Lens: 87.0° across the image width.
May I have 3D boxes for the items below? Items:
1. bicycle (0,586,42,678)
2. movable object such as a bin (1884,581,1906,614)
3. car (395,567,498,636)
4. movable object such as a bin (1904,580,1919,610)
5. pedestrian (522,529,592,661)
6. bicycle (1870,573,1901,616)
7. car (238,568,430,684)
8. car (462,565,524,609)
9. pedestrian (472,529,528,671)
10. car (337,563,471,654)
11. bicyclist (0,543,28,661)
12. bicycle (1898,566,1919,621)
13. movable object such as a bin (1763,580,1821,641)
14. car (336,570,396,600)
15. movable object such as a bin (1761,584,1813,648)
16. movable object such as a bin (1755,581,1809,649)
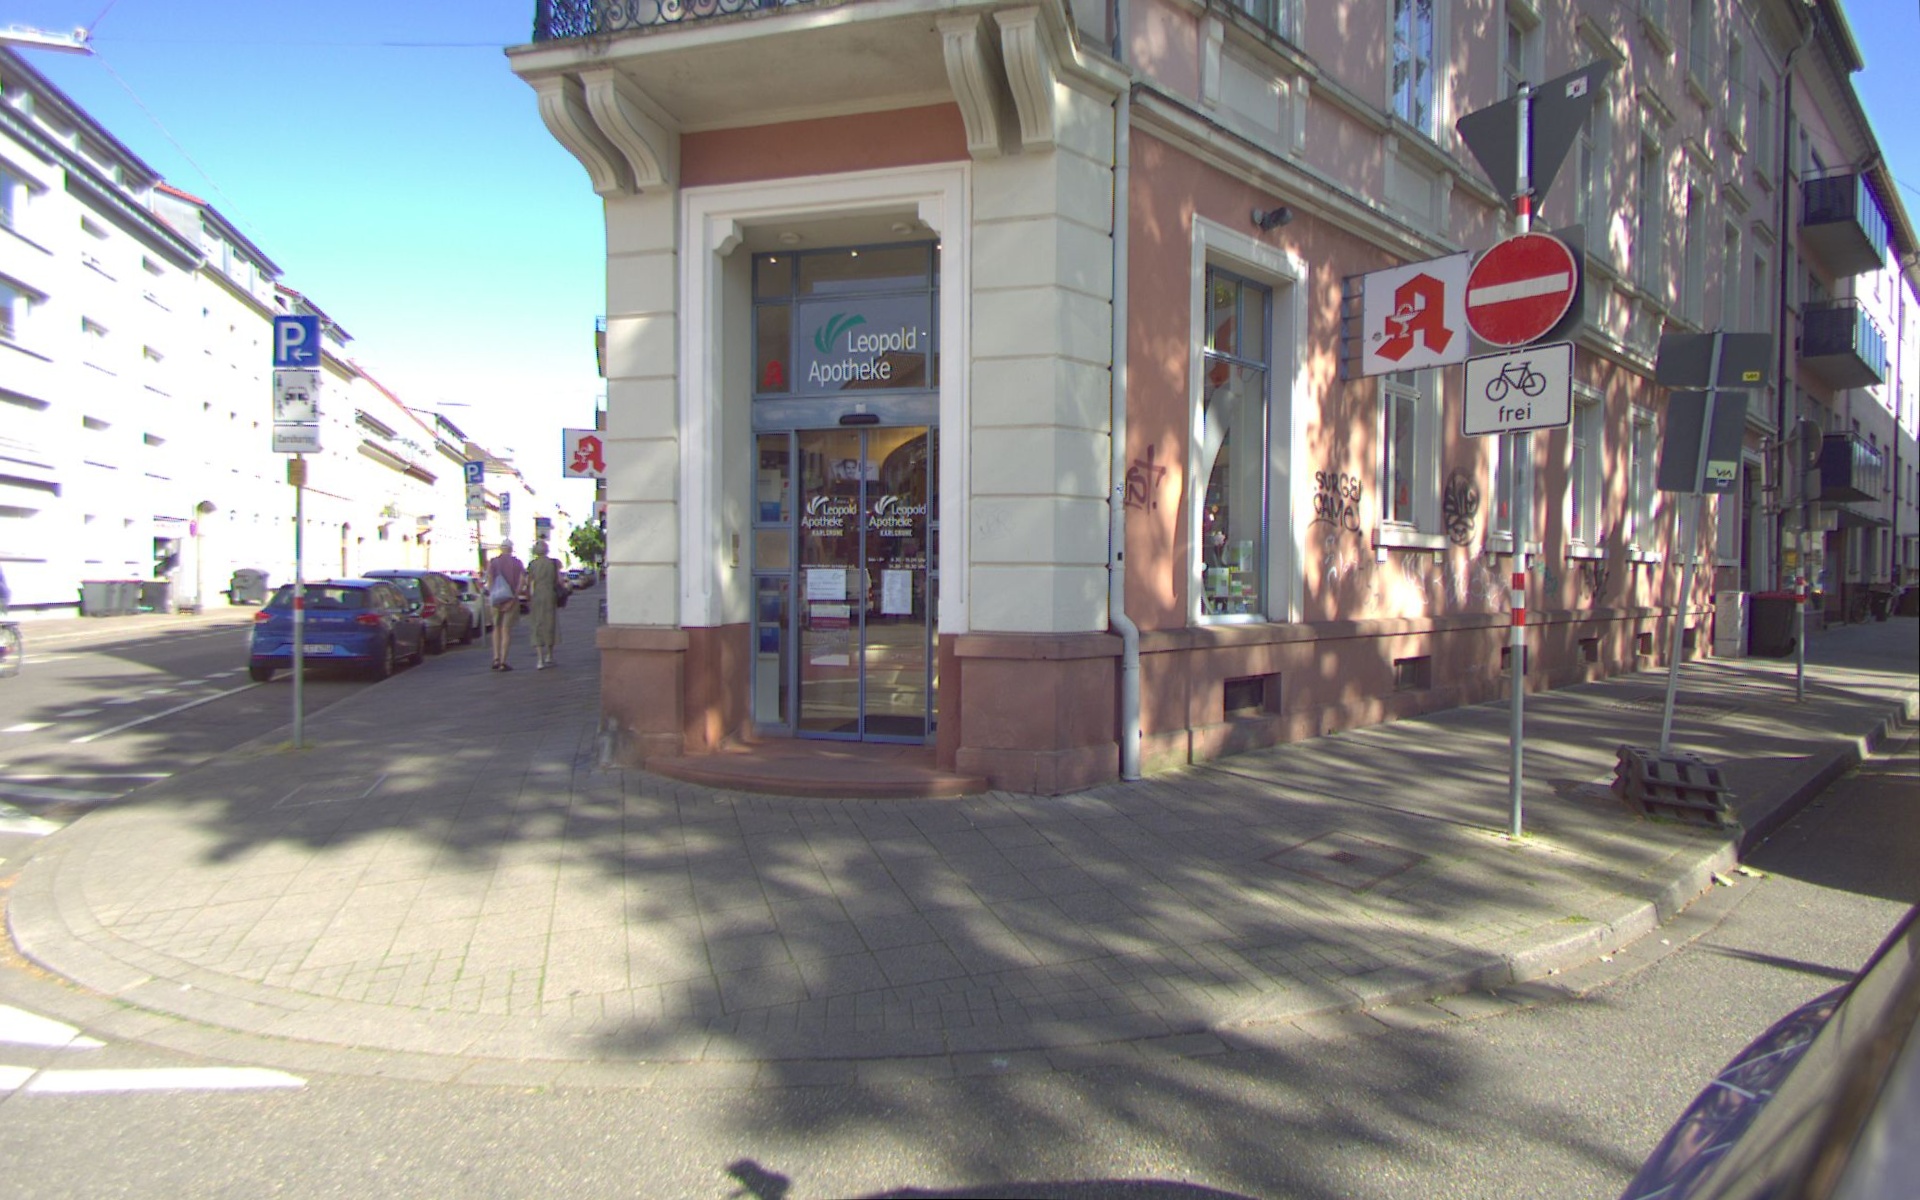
[{"bbox_3d":[-13.023,0.433,13.292,0.658,1.214,1.930,0,1,-17],"label":"bicycle"},{"bbox_3d":[27.730,-0.066,30.014,0.297,0.951,0.415,-1,4,-43],"label":"movable object such as a bin"},{"bbox_3d":[-12.365,-0.006,24.559,1.671,1.451,3.648,2,2,-19],"label":"car"},{"bbox_3d":[33.237,-0.174,35.023,0.537,1.014,0.716,-1,4,-43],"label":"movable object such as a bin"},{"bbox_3d":[-5.696,-0.068,14.289,0.814,1.787,0.753,-1,-1,-28],"label":"pedestrian"},{"bbox_3d":[25.914,-0.161,28.314,1.989,1.164,0.402,-1,2,-41],"label":"bicycle"},{"bbox_3d":[-9.316,0.312,15.367,1.671,1.451,3.648,2,2,-19],"label":"car"},{"bbox_3d":[-17.152,-0.512,37.318,1.671,1.451,3.648,2,2,-19],"label":"car"},{"bbox_3d":[-6.336,-0.021,13.926,0.560,1.879,0.708,-3,2,-28],"label":"pedestrian"},{"bbox_3d":[-10.932,0.108,20.140,1.671,1.556,3.648,2,2,-19],"label":"car"},{"bbox_3d":[-13.057,0.027,13.421,0.625,1.566,1.027,0,1,-17],"label":"bicyclist"},{"bbox_3d":[31.393,-0.236,33.398,2.070,1.757,0.402,-1,2,-41],"label":"bicycle"},{"bbox_3d":[15.832,0.190,19.264,0.608,1.097,0.717,-1,4,-43],"label":"movable object such as a bin"},{"bbox_3d":[-27.278,-0.724,46.579,1.671,1.315,3.647,0,1,-19],"label":"car"},{"bbox_3d":[14.487,0.267,17.722,0.601,1.071,0.570,-1,4,-43],"label":"movable object such as a bin"},{"bbox_3d":[14.045,0.246,17.296,0.643,1.097,0.570,-1,4,-43],"label":"movable object such as a bin"}]
